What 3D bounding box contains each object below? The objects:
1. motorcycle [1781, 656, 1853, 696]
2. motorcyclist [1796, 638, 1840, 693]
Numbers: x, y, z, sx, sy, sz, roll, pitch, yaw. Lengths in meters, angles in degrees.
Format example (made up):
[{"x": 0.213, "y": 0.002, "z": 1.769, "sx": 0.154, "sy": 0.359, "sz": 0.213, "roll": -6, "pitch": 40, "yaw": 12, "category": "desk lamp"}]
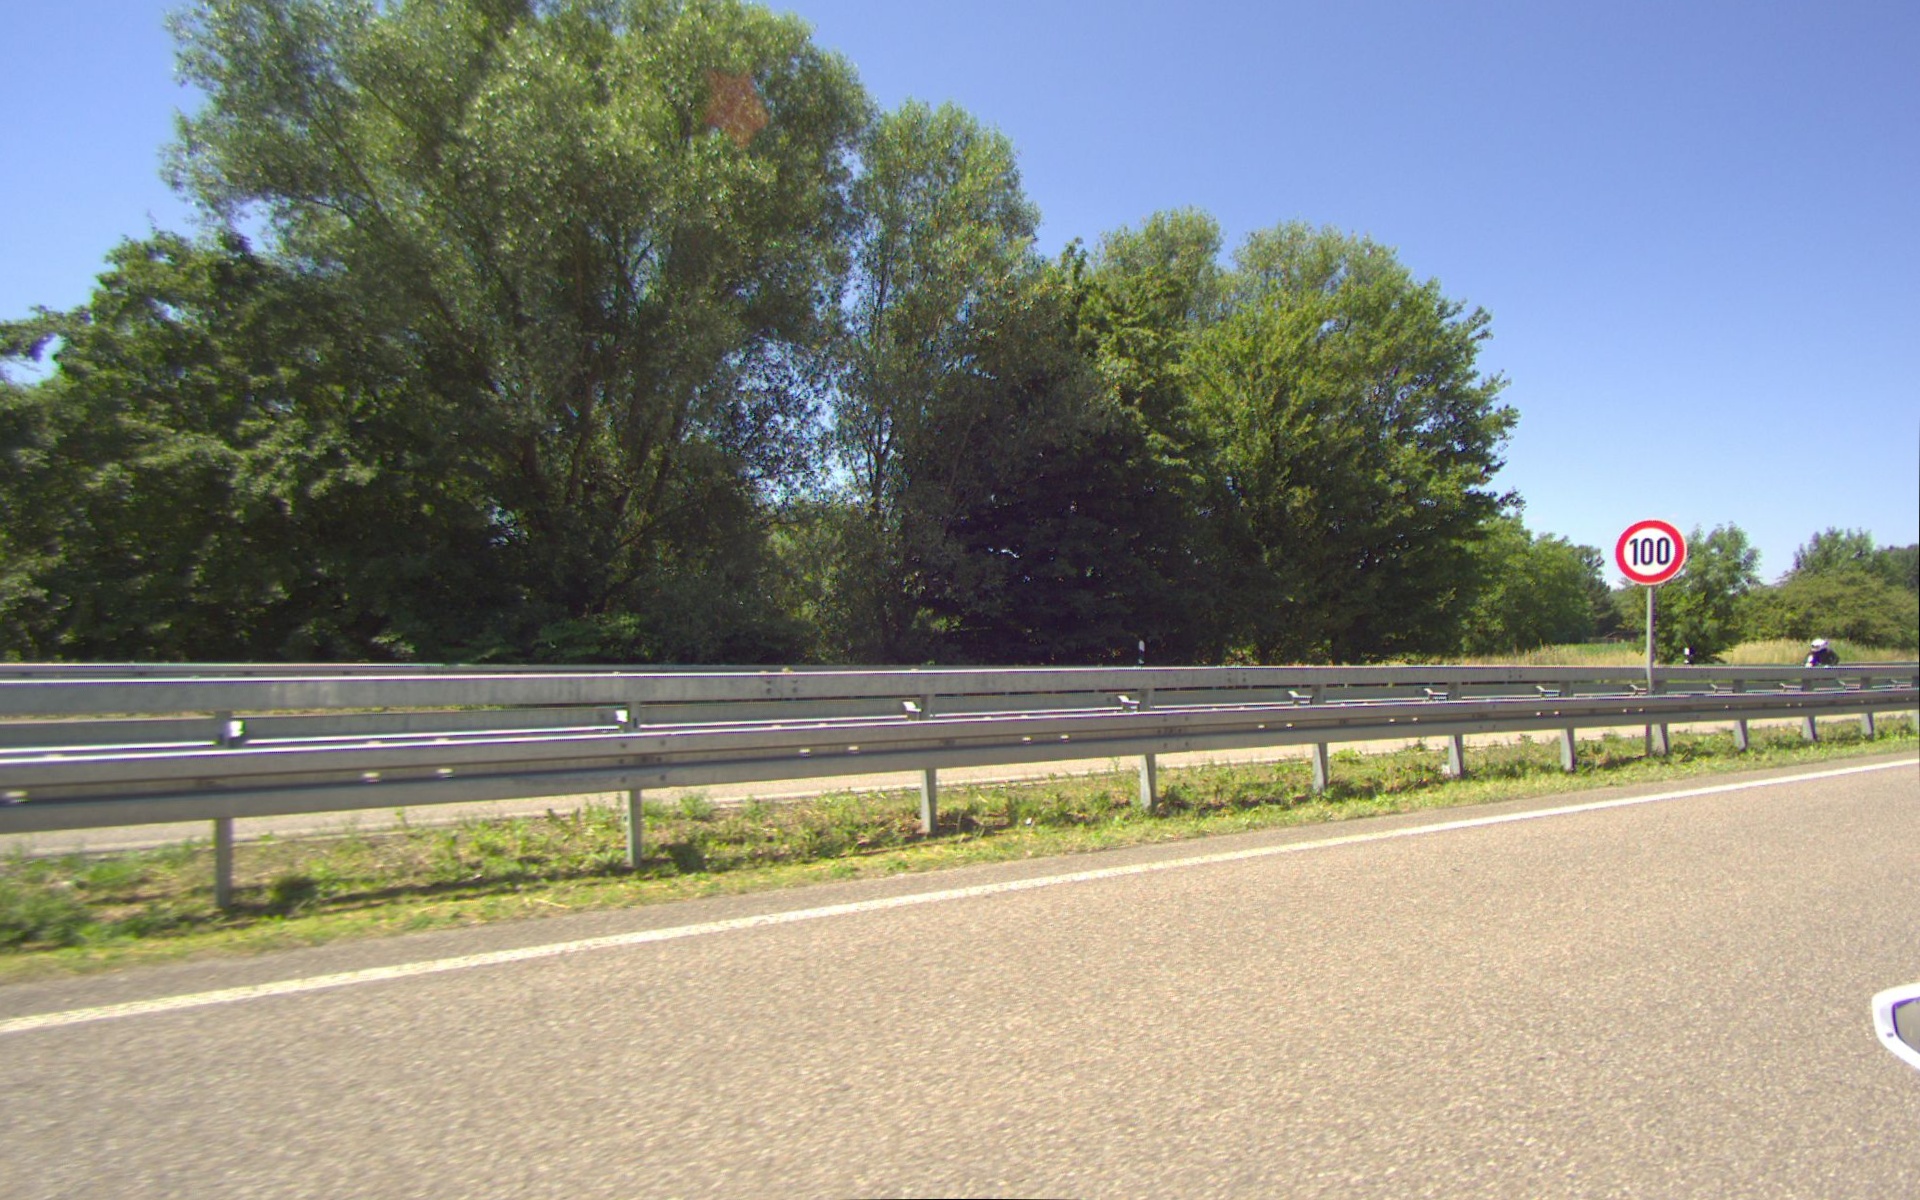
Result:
[{"x": 24.511, "y": 2.153, "z": 28.716, "sx": 2.635, "sy": 1.078, "sz": 0.723, "roll": 2, "pitch": -1, "yaw": -30, "category": "motorcycle"}, {"x": 24.527, "y": 1.863, "z": 28.723, "sx": 0.800, "sy": 1.502, "sz": 0.715, "roll": 2, "pitch": -1, "yaw": -30, "category": "motorcyclist"}]
